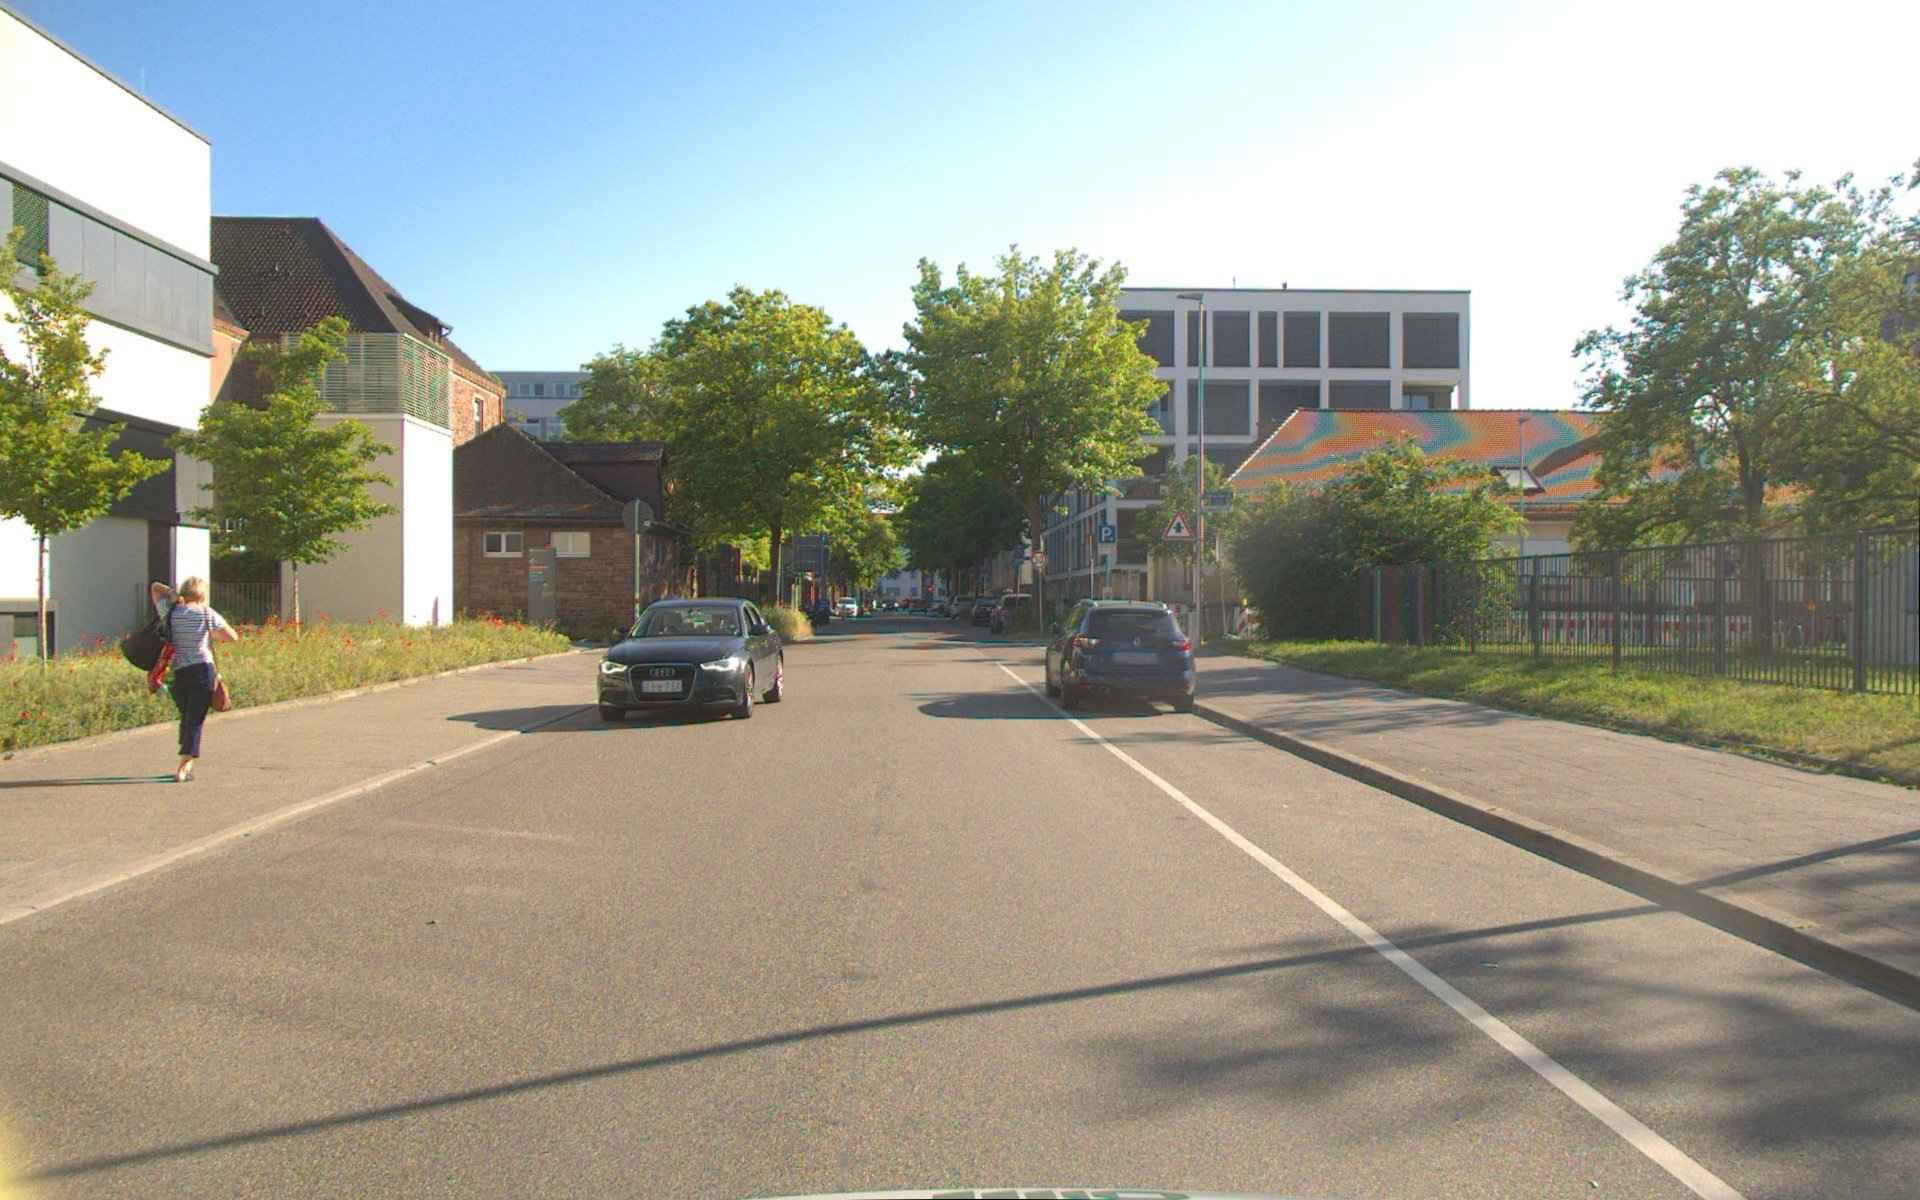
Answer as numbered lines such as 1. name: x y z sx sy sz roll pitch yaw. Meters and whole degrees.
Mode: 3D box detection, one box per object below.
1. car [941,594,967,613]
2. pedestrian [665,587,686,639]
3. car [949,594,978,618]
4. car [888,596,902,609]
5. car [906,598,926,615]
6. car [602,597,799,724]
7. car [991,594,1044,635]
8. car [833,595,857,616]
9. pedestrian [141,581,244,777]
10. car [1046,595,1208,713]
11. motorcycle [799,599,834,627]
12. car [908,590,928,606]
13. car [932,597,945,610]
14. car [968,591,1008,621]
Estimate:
1. car: -0.472 0.275 128.971 1.953 1.491 3.835 0 0 -1
2. pedestrian: -8.720 0.395 50.768 0.511 1.590 1.095 0 0 -3
3. car: 0.225 0.397 113.263 1.911 1.606 3.835 0 0 -1
4. car: -7.705 0.310 195.231 1.620 1.557 3.998 0 0 -2
5. car: -4.161 0.574 156.852 1.732 1.575 4.063 0 0 -3
6. car: -3.266 0.708 21.675 1.725 1.467 4.539 -1 0 2
7. car: 2.160 0.544 63.057 1.669 1.494 4.787 0 0 -2
8. car: -8.629 0.392 124.255 1.732 1.513 3.997 0 0 -3
9. pedestrian: -6.243 0.630 13.477 0.527 1.550 0.607 1 0 -1
10. car: 2.256 0.685 23.360 1.781 1.478 4.213 -1 0 -1
11. motorcycle: -6.993 0.623 80.711 0.565 1.298 2.117 0 0 31
12. car: -3.980 -0.196 157.163 1.851 1.424 3.835 0 0 -1
13. car: -2.504 0.415 194.260 1.553 1.424 3.835 0 0 -1
14. car: 1.397 0.314 84.341 1.732 1.465 3.997 0 0 -3
